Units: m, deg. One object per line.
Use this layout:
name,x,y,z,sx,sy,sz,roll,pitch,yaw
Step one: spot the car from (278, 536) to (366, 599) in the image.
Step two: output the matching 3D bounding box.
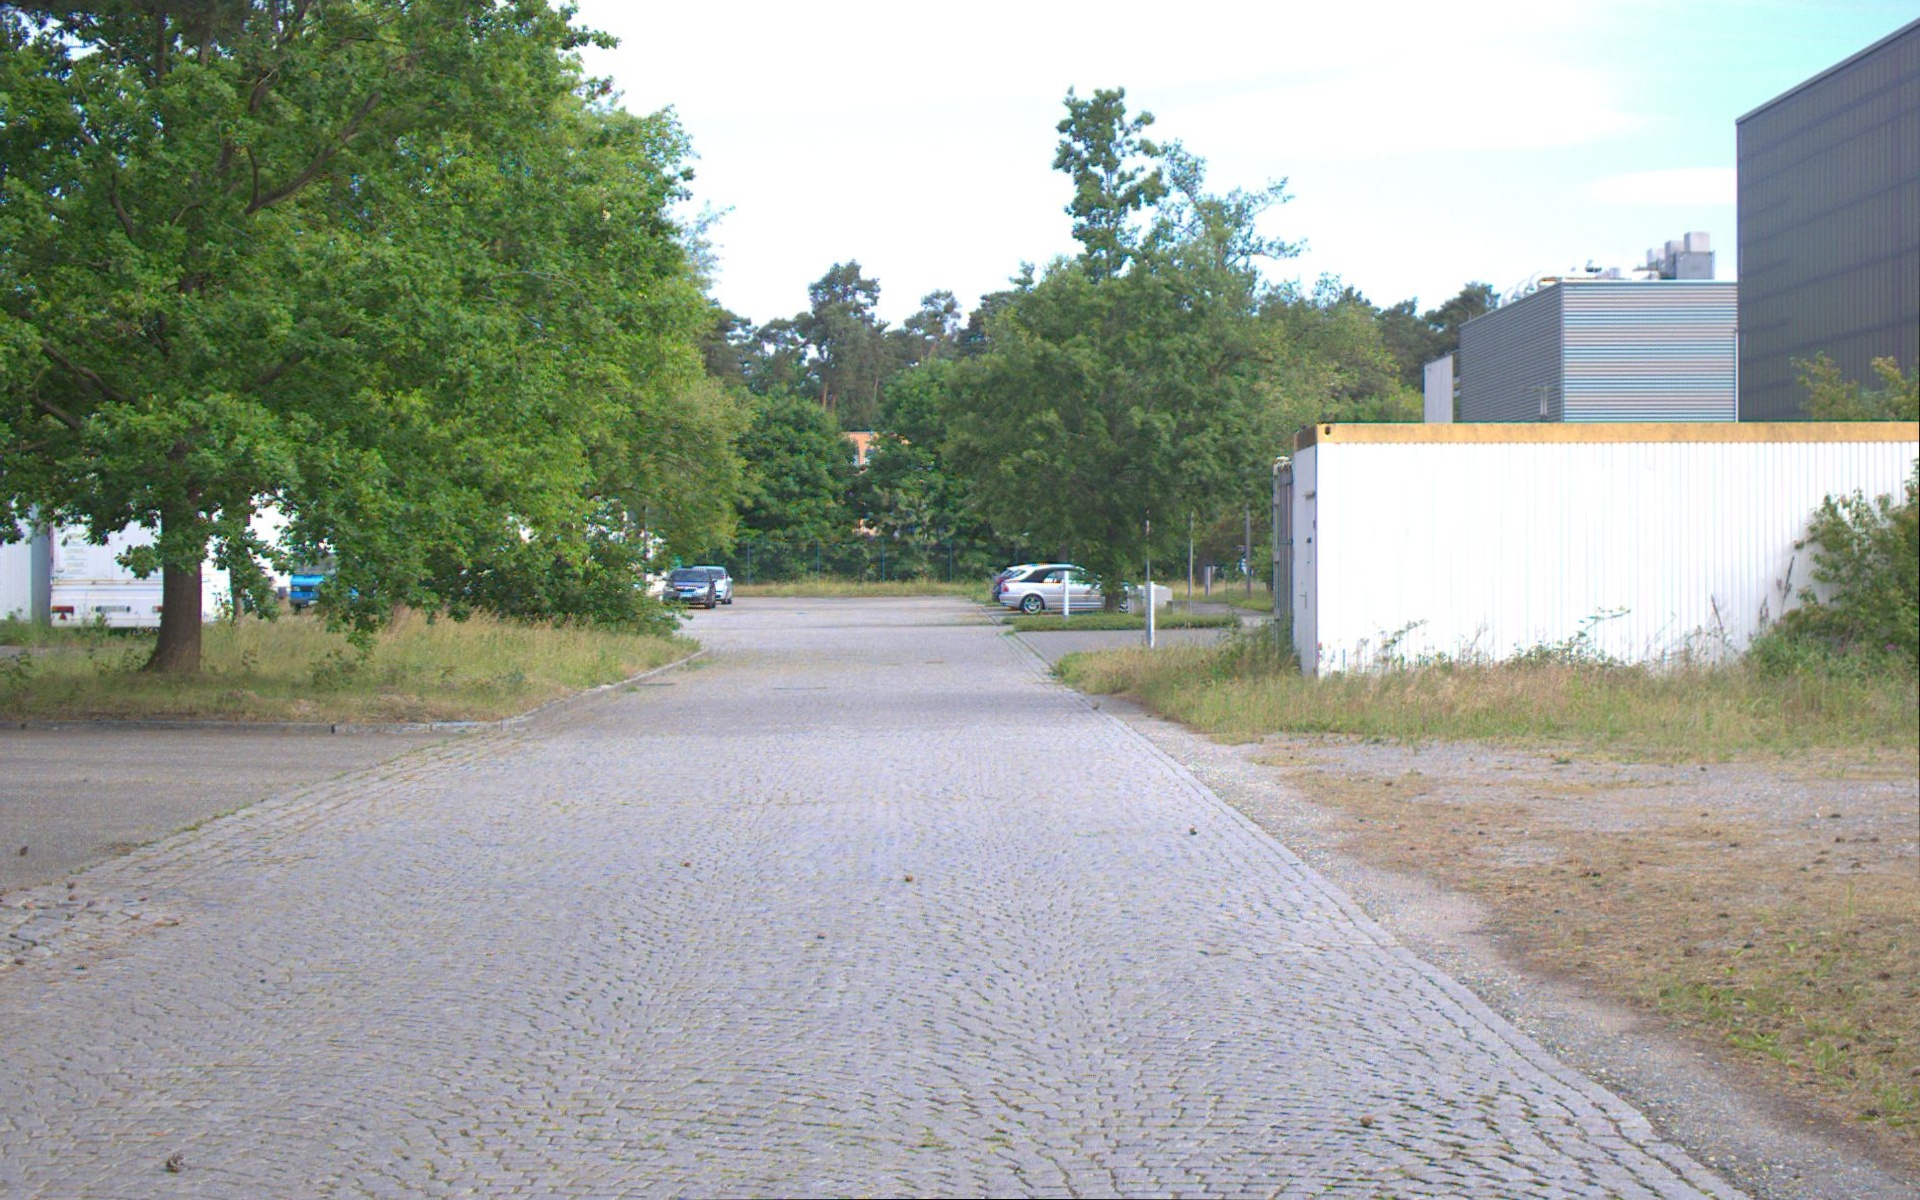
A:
car,-20.753,-1.072,111.998,1.993,2.007,4.767,0,1,0

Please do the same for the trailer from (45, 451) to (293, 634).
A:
trailer,-16.452,-1.183,72.304,2.625,3.585,10.177,0,1,2

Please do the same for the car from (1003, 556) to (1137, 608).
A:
car,3.357,-0.560,105.266,3.984,1.443,1.653,-2,1,0

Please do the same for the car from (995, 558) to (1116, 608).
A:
car,2.848,-0.524,102.570,3.522,1.357,1.622,-2,1,0

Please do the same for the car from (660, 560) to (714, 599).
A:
car,-9.834,-0.760,124.077,1.648,1.364,3.998,0,1,-1
